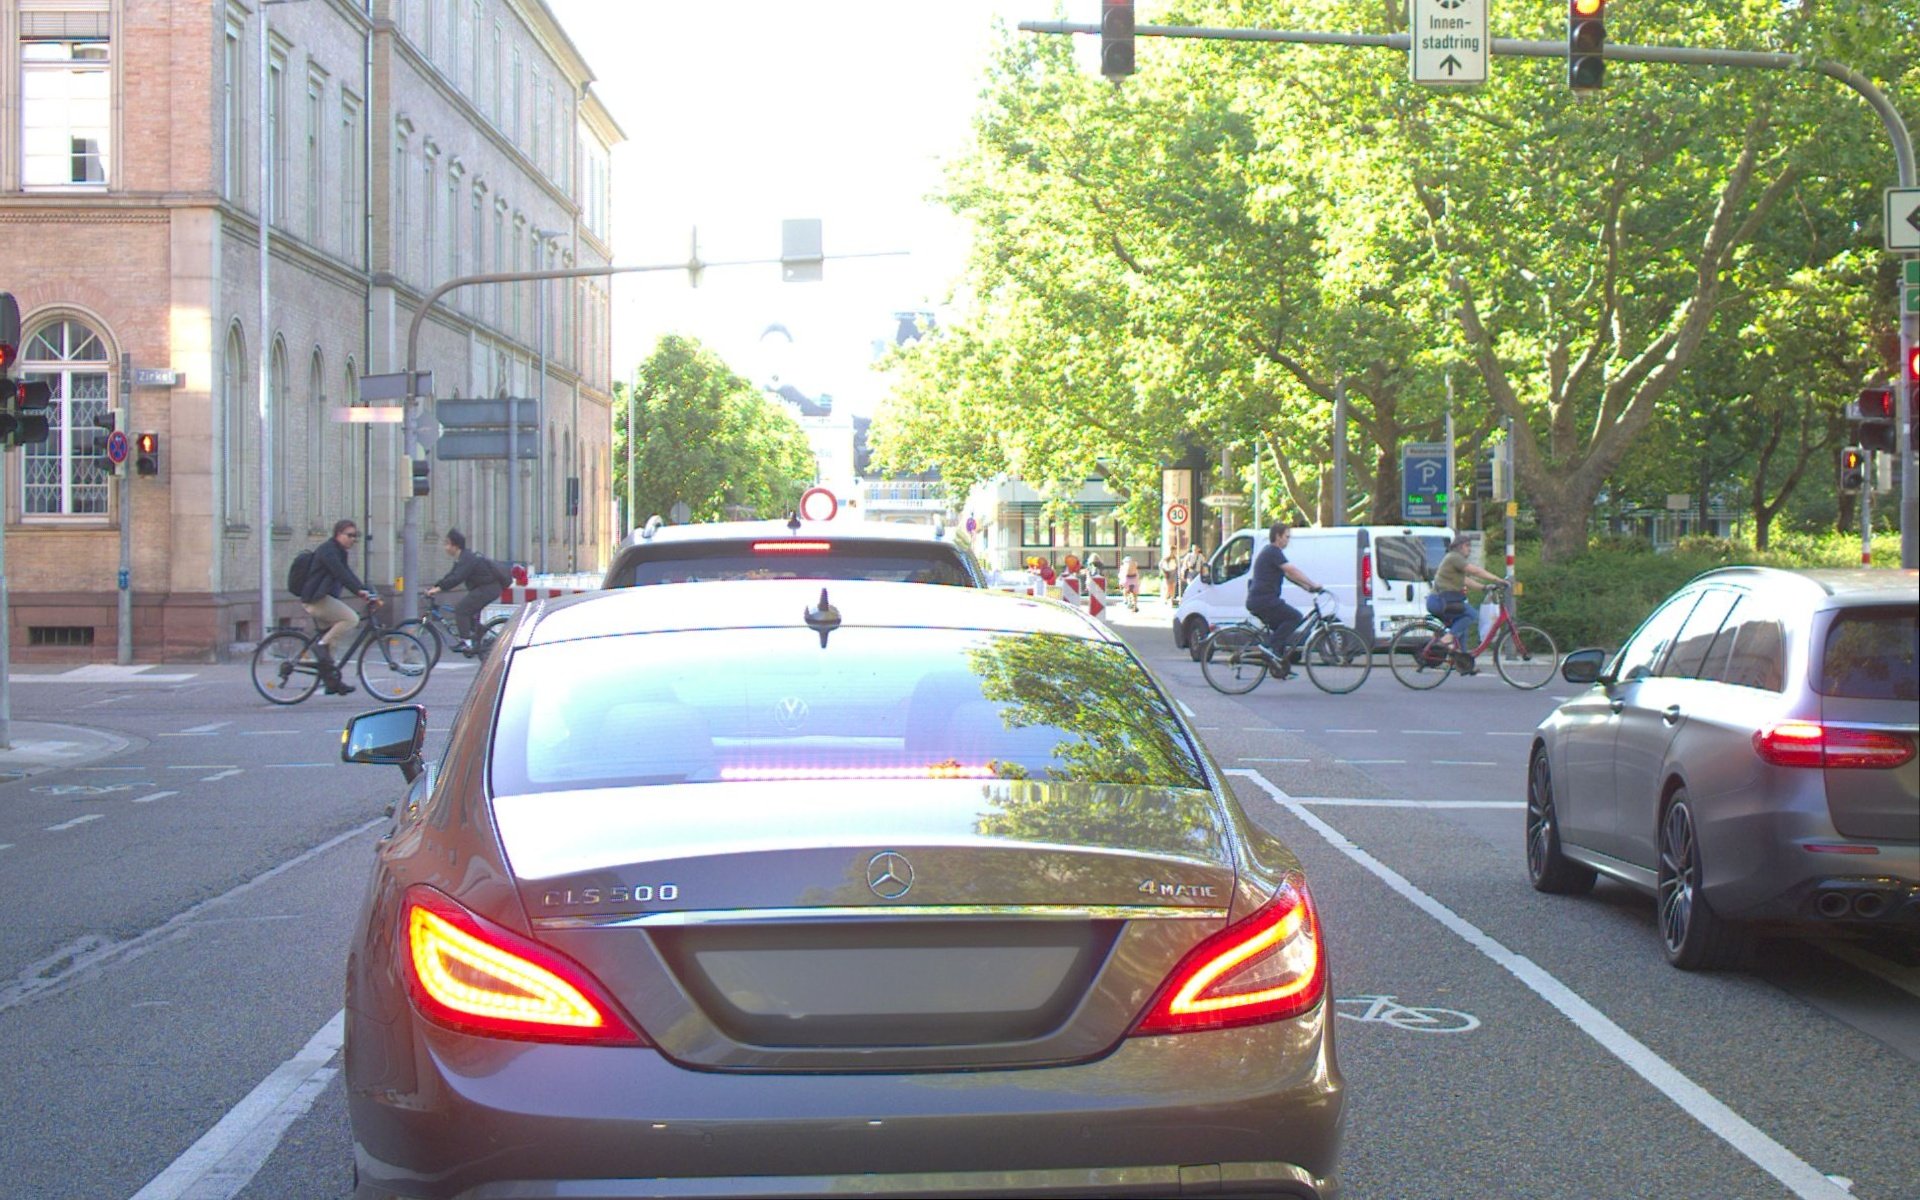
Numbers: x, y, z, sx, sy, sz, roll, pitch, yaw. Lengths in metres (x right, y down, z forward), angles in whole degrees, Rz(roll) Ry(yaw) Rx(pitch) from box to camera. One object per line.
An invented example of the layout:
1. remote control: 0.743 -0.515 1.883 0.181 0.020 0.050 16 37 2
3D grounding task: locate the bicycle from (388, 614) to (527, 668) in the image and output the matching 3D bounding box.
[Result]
1. bicycle: -6.058 0.488 41.453 1.587 0.632 0.496 0 1 3

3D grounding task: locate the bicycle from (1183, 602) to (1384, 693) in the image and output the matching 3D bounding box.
1. bicycle: 3.313 0.485 35.323 1.986 0.900 0.734 0 1 -1

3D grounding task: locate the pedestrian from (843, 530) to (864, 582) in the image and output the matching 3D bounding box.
1. pedestrian: -3.892 -1.621 125.529 0.721 1.895 0.704 1 1 -1

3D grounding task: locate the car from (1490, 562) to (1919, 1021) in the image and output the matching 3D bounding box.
1. car: 3.468 0.625 13.619 1.913 1.459 4.669 2 1 -1

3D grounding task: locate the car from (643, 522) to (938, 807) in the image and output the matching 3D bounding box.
1. car: -1.073 0.363 23.251 1.820 1.756 4.000 0 1 -1

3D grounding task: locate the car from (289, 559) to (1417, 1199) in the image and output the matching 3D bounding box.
1. car: -0.444 0.658 7.661 1.803 1.451 4.352 0 1 -8

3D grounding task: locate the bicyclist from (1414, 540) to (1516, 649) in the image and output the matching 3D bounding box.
1. bicyclist: 5.375 -0.061 36.615 0.991 1.150 0.620 0 1 0

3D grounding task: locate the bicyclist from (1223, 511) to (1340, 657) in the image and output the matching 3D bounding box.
1. bicyclist: 3.293 -0.171 35.296 1.116 1.485 0.712 0 1 -1

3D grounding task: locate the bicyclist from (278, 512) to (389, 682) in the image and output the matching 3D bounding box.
1. bicyclist: -6.113 -0.031 33.560 1.014 1.637 0.608 0 1 -6

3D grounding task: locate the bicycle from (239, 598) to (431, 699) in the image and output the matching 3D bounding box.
1. bicycle: -6.088 0.471 33.561 1.793 0.943 0.614 1 1 -6

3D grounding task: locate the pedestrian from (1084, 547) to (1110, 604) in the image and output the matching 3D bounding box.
1. pedestrian: 3.623 -0.639 90.714 0.648 1.498 0.637 0 1 -1

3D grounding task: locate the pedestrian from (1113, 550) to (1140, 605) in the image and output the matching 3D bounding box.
1. pedestrian: 4.385 -0.601 90.548 0.648 1.428 0.659 0 1 -1

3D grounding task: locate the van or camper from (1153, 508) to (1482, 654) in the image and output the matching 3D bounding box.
1. van or camper: 4.951 -0.301 48.159 1.994 1.935 4.593 0 1 -37

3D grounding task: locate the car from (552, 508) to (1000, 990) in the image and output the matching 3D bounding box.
1. car: -0.719 0.482 13.730 1.517 1.641 3.881 1 1 -3

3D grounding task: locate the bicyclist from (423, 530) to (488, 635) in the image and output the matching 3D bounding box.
1. bicyclist: -6.083 -0.218 41.450 0.704 1.256 0.457 0 1 3

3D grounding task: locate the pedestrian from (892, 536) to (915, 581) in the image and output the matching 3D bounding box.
1. pedestrian: -1.961 -1.448 119.355 0.801 1.571 0.845 0 1 -1

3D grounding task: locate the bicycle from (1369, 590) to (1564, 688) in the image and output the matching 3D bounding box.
1. bicycle: 5.384 0.411 36.635 1.980 1.024 0.652 0 1 1
